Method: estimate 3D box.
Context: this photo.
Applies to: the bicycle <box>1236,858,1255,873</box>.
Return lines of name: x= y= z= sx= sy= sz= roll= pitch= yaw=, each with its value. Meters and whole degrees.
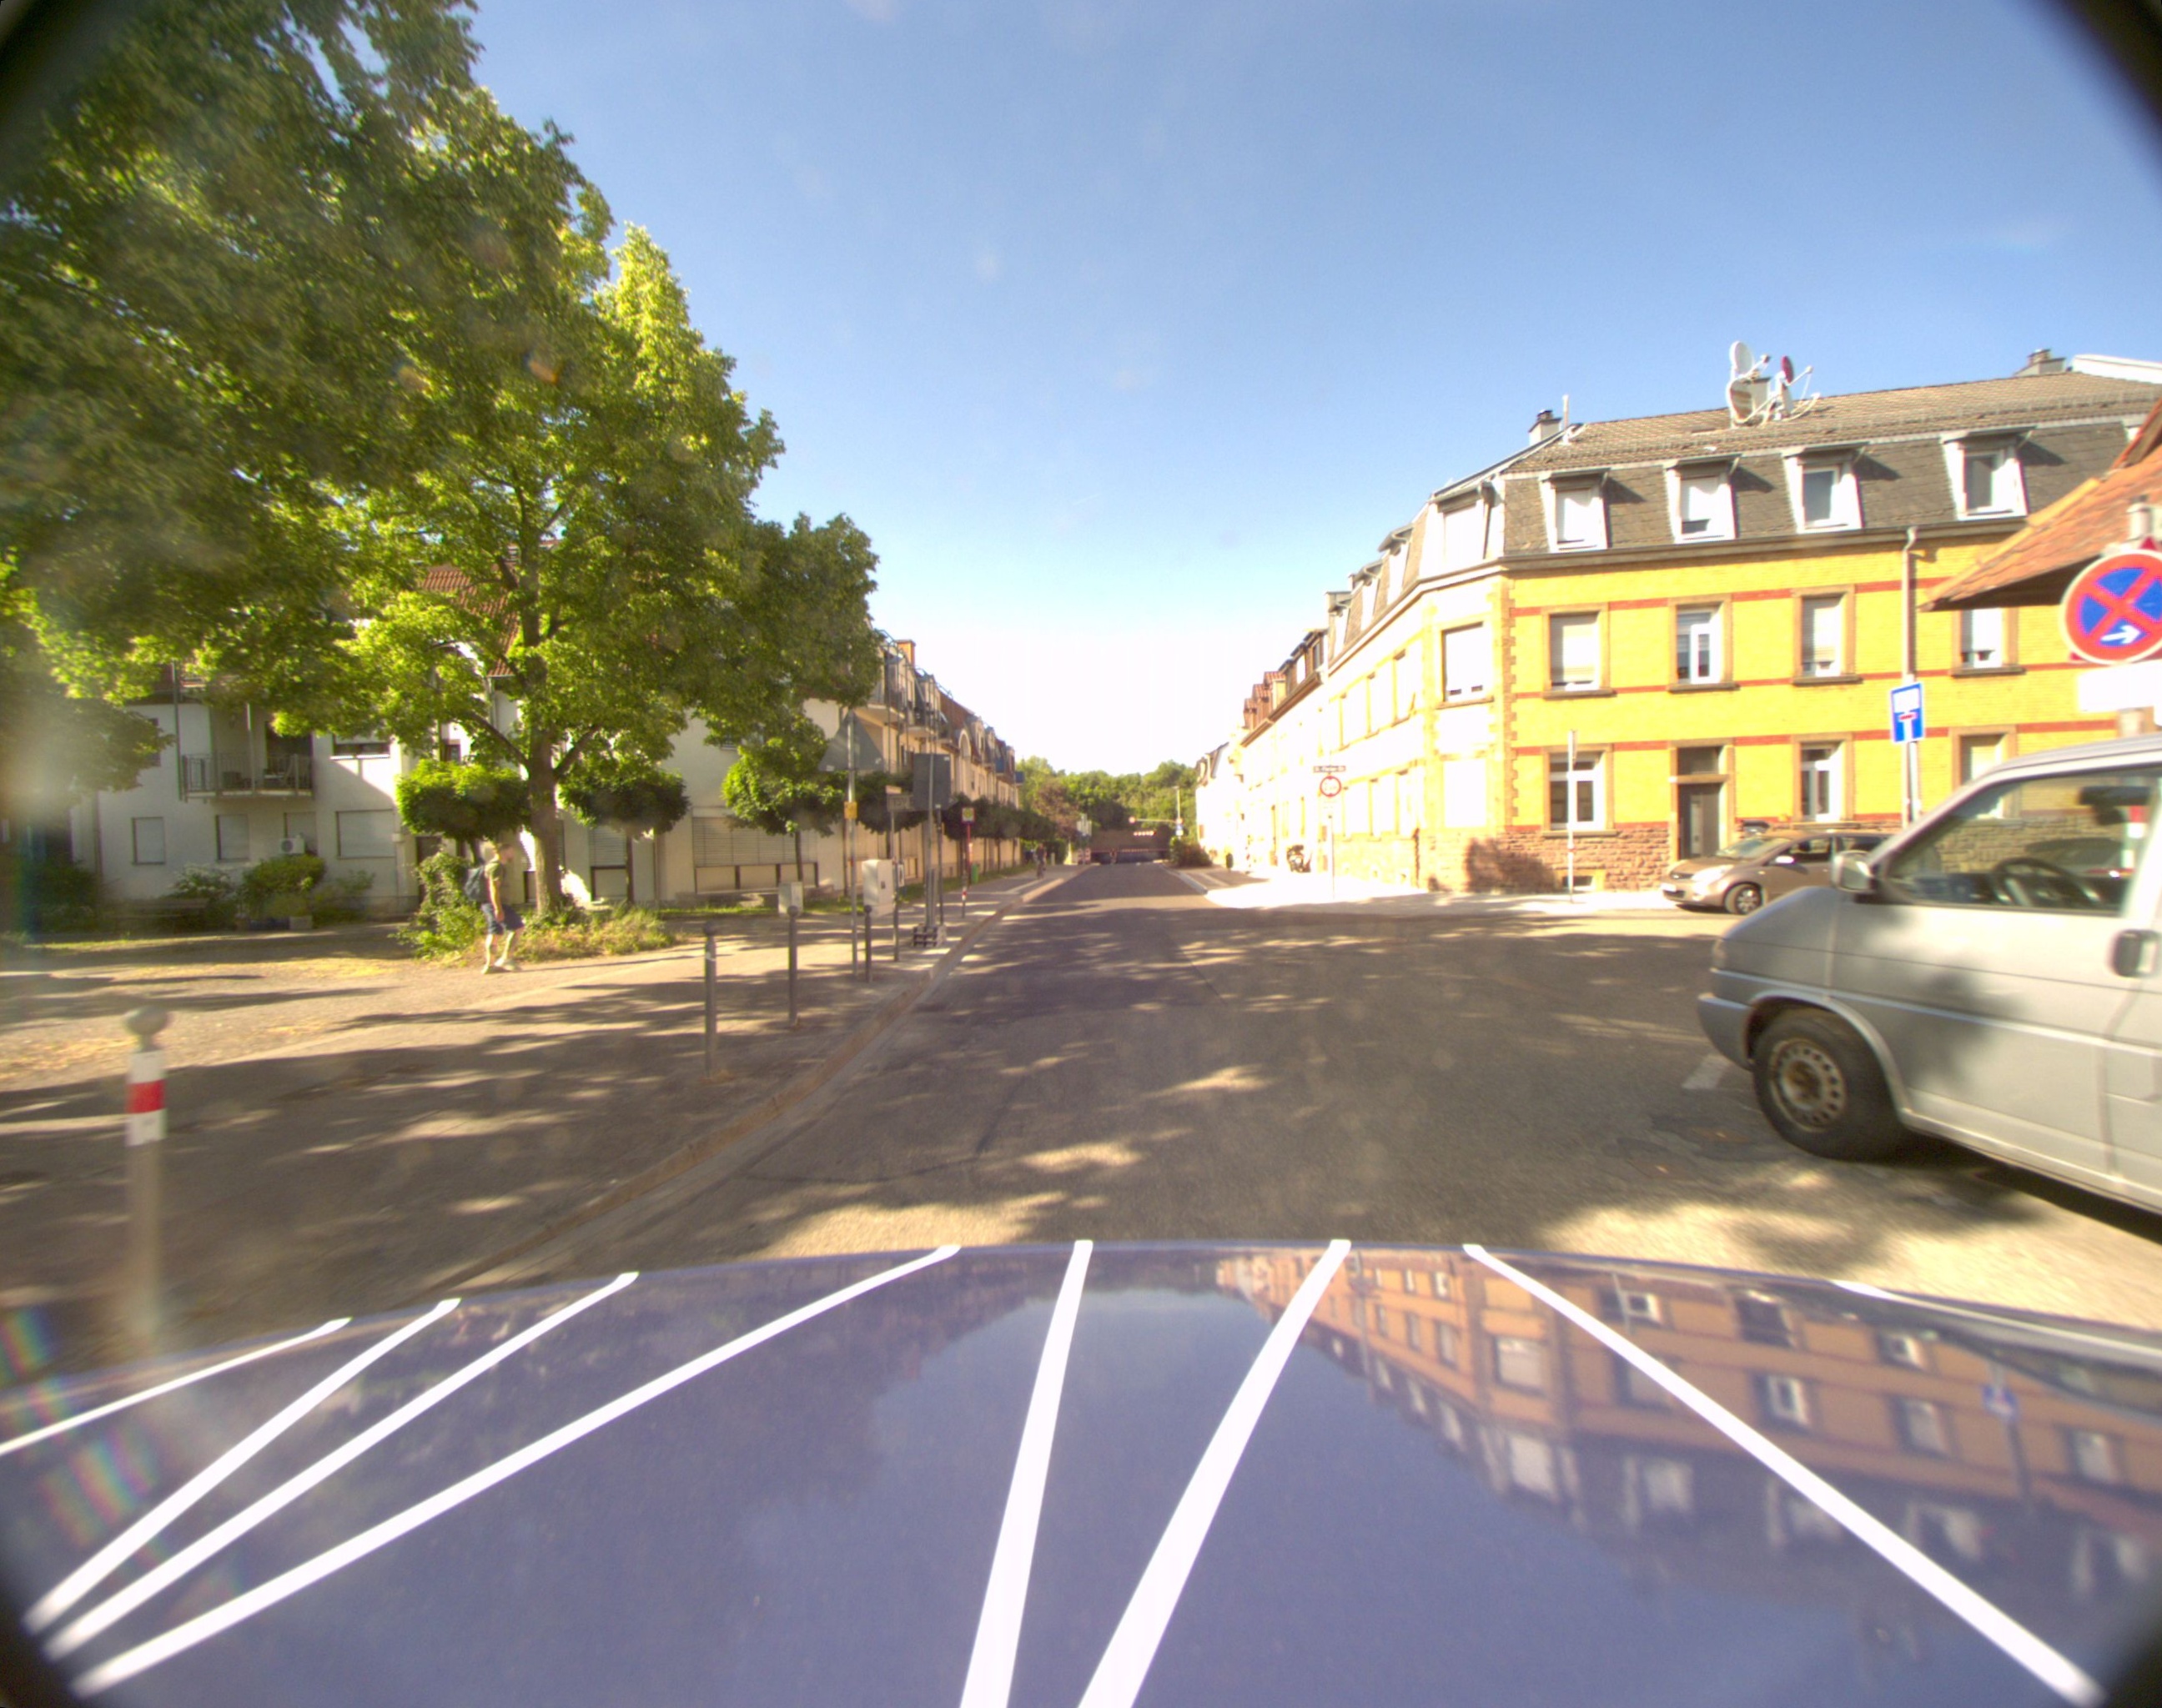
bicycle: x=7.873 y=0.527 z=36.410 sx=0.382 sy=0.606 sz=1.344 roll=-3 pitch=2 yaw=34

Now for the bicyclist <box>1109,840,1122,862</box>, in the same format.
bicyclist: x=3.730 y=-0.367 z=82.912 sx=1.256 sy=2.295 sz=1.242 roll=-4 pitch=2 yaw=2

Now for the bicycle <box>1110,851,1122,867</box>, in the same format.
bicycle: x=3.798 y=0.499 z=82.832 sx=1.256 sy=1.543 sz=3.999 roll=-4 pitch=1 yaw=2

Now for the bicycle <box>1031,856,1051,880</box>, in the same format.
bicycle: x=-1.902 y=0.640 z=36.362 sx=0.668 sy=1.058 sz=1.817 roll=2 pitch=2 yaw=7

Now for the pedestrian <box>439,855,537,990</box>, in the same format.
pedestrian: x=-7.992 y=0.883 z=10.251 sx=0.659 sy=1.707 sz=0.829 roll=-1 pitch=2 yaw=39

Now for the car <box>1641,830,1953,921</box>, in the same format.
car: x=13.449 y=0.376 z=14.561 sx=4.009 sy=1.536 sz=1.716 roll=-1 pitch=4 yaw=12

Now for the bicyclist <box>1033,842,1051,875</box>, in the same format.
bicyclist: x=-1.874 y=0.188 z=36.403 sx=0.668 sy=1.530 sz=0.914 roll=2 pitch=2 yaw=7

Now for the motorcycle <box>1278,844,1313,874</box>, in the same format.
motorcycle: x=9.470 y=0.201 z=33.683 sx=0.848 sy=1.245 sz=2.257 roll=-4 pitch=1 yaw=0

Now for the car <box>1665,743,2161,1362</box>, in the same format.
car: x=4.188 y=0.600 z=1.850 sx=1.880 sy=1.870 sz=4.834 roll=-1 pitch=1 yaw=1
